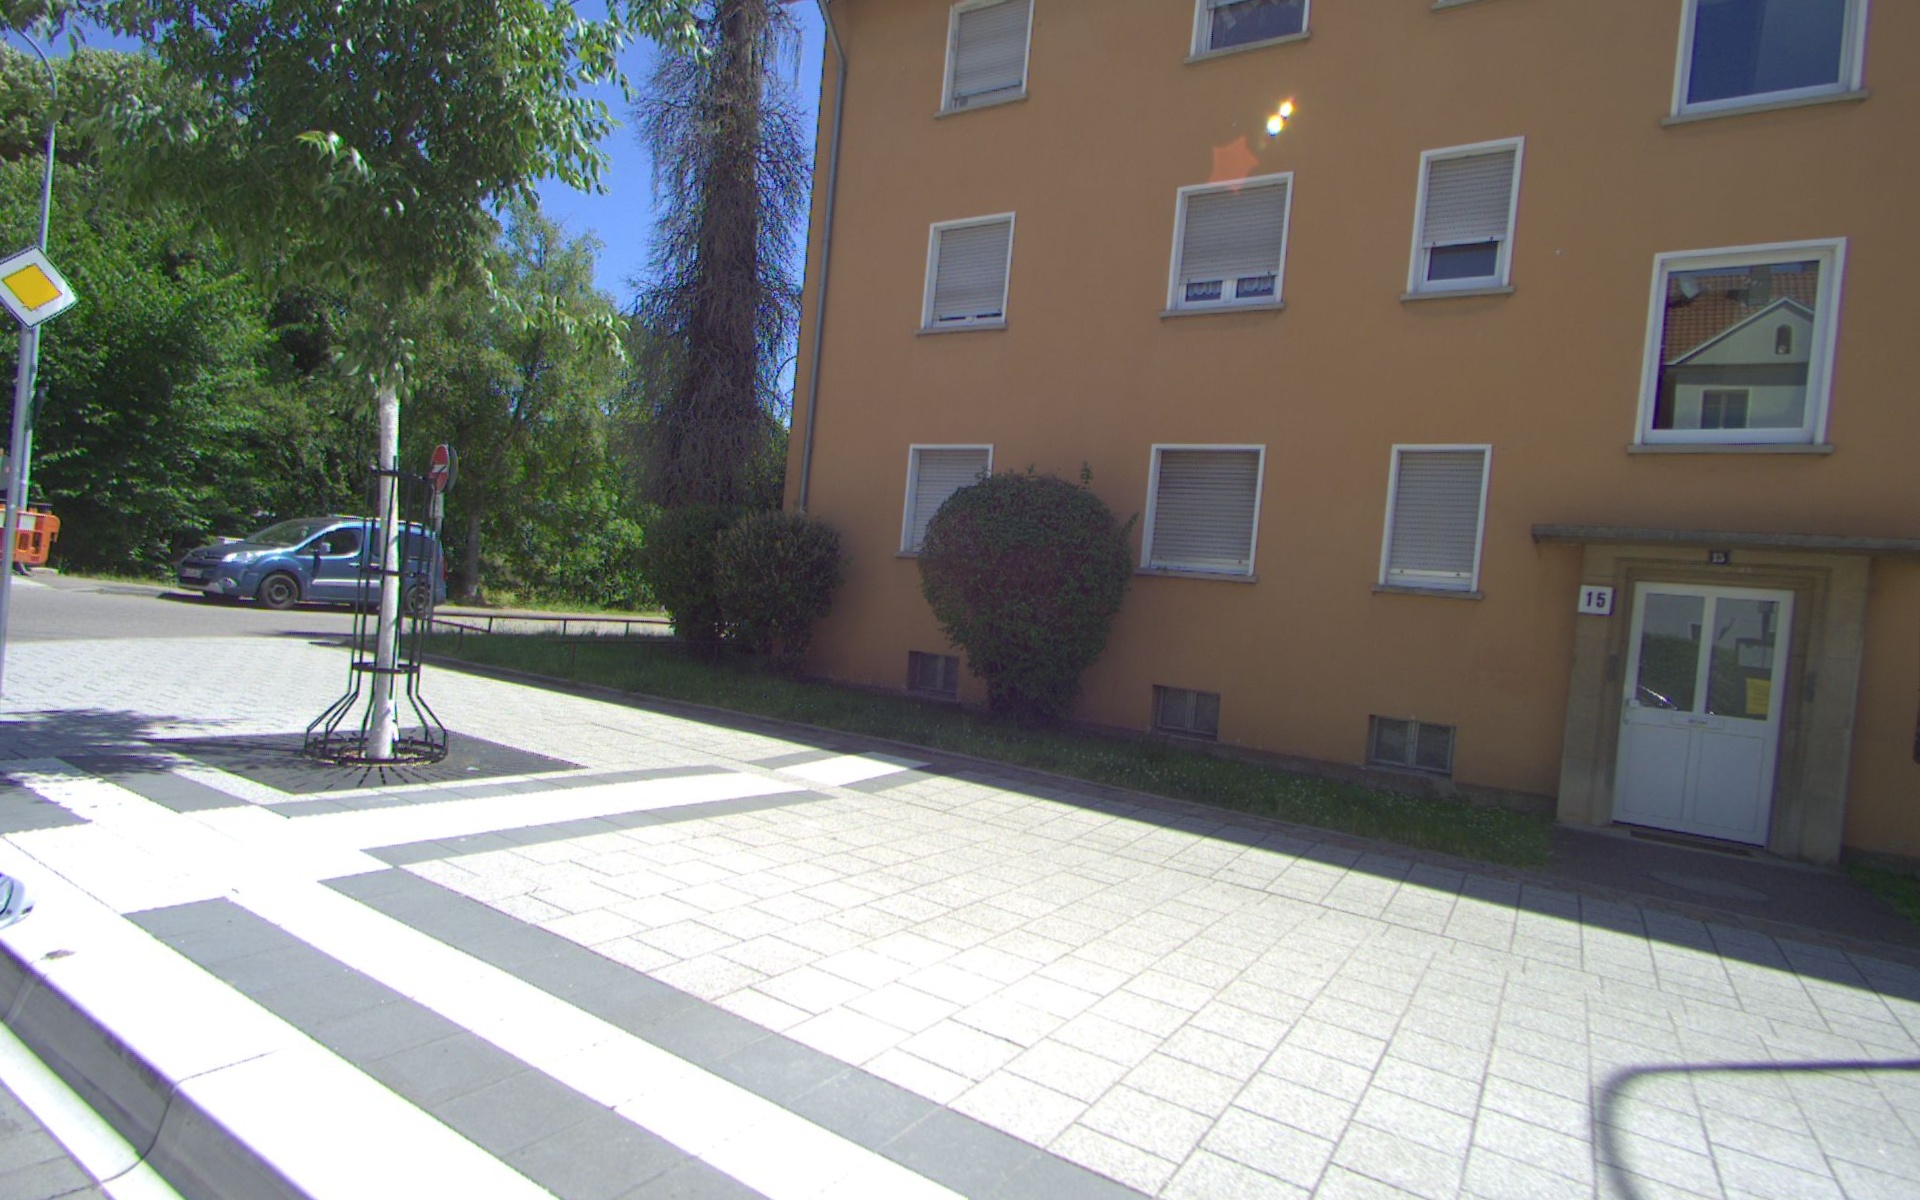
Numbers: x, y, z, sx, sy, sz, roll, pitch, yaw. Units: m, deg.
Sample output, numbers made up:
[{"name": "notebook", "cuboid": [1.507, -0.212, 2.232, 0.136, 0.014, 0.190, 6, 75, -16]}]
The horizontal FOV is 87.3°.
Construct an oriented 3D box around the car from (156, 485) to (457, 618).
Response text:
[{"name": "car", "cuboid": [-11.920, -0.789, 18.732, 1.718, 1.860, 4.351, 6, -2, 23]}]
